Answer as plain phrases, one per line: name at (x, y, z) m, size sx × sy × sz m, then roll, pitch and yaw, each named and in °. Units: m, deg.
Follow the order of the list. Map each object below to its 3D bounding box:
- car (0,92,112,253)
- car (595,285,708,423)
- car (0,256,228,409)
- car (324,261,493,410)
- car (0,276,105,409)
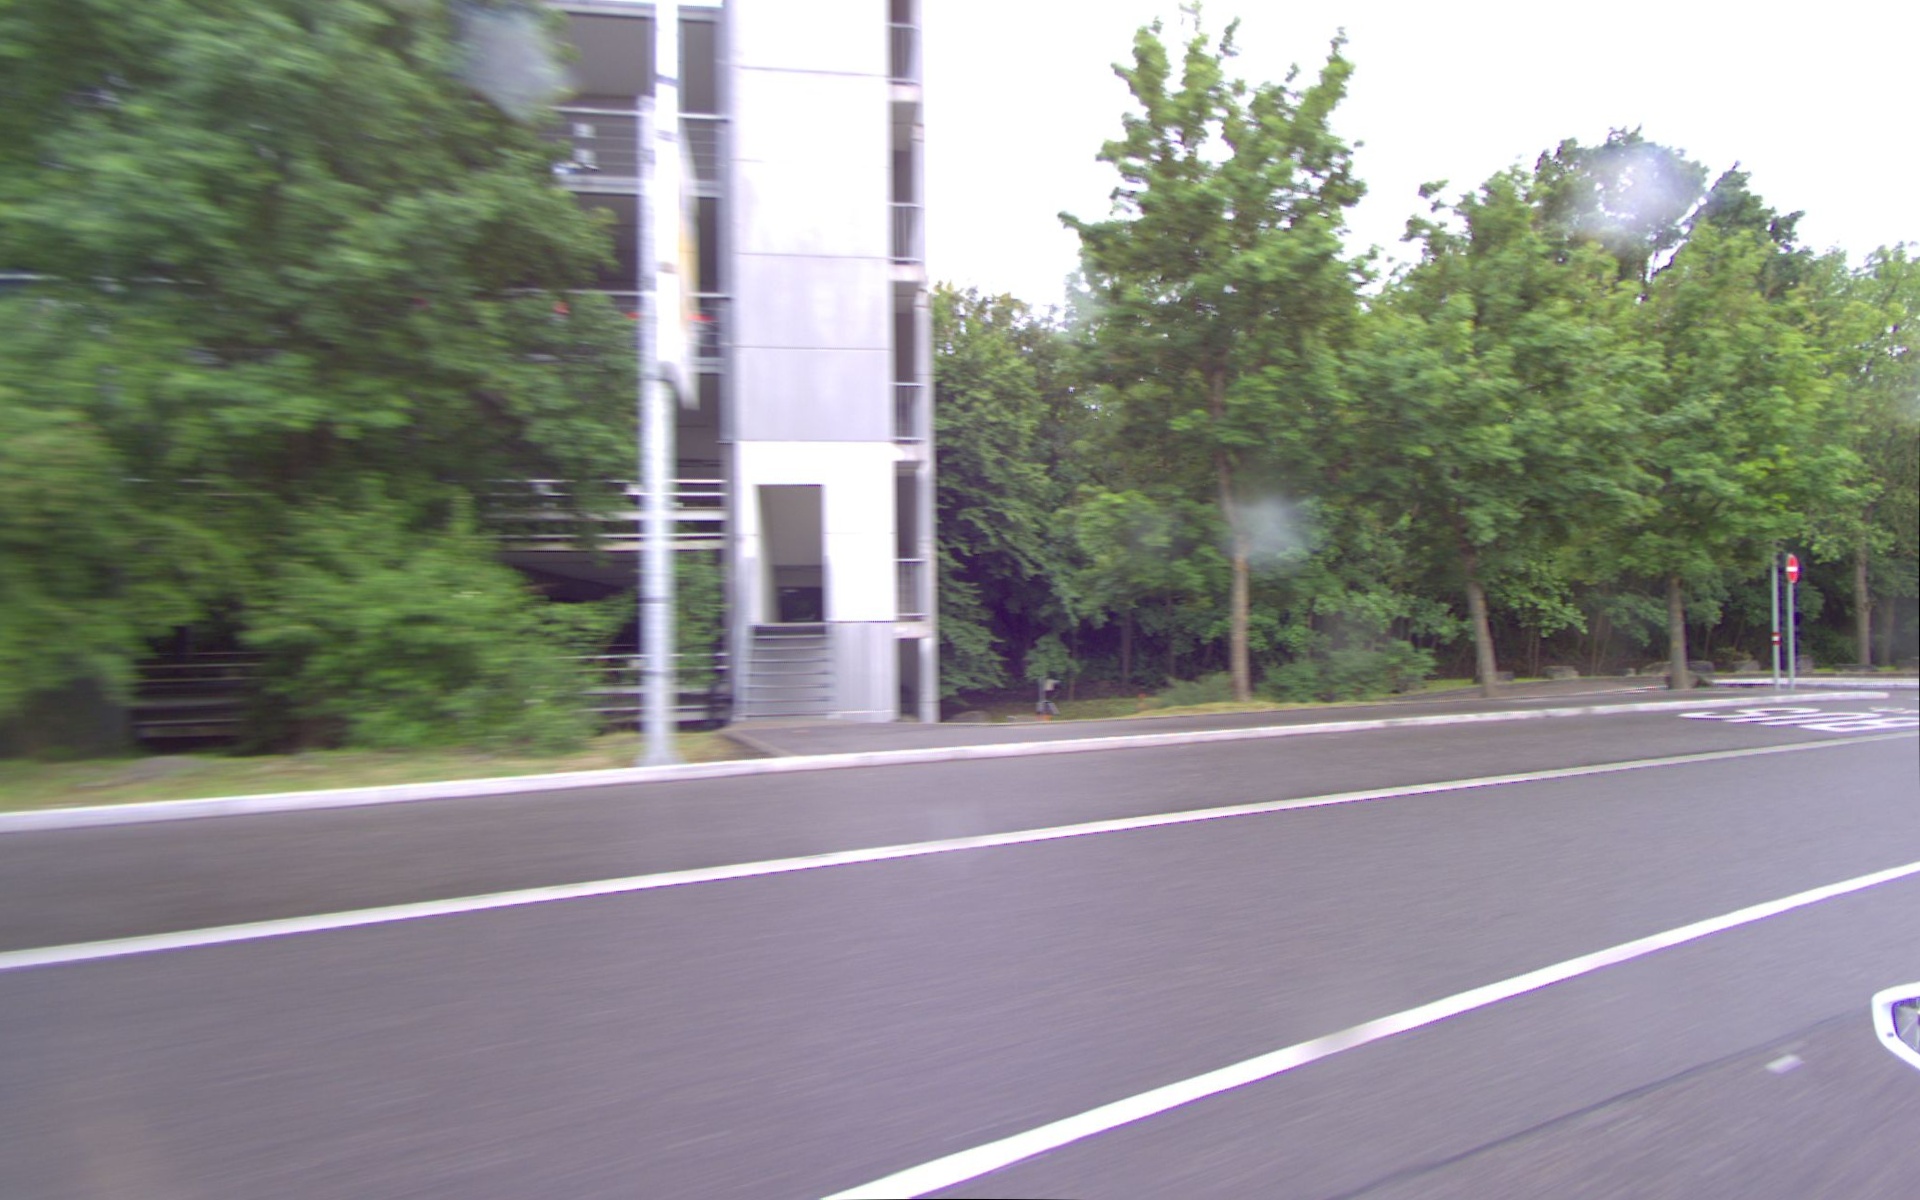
car at (-16.226, -7.273, 16.872) m, size 1.557 × 1.539 × 3.239 m, roll 0°, pitch -3°, yaw -10°
car at (-5.587, -4.417, 18.498) m, size 1.557 × 1.539 × 3.239 m, roll 0°, pitch -3°, yaw -10°
car at (-14.207, -4.412, 17.051) m, size 1.557 × 1.539 × 3.239 m, roll 0°, pitch -3°, yaw -10°
car at (-9.445, -4.481, 17.474) m, size 1.557 × 1.539 × 3.239 m, roll 0°, pitch -3°, yaw -10°
car at (-16.179, -4.340, 16.665) m, size 1.557 × 1.539 × 3.239 m, roll 0°, pitch -3°, yaw -10°
